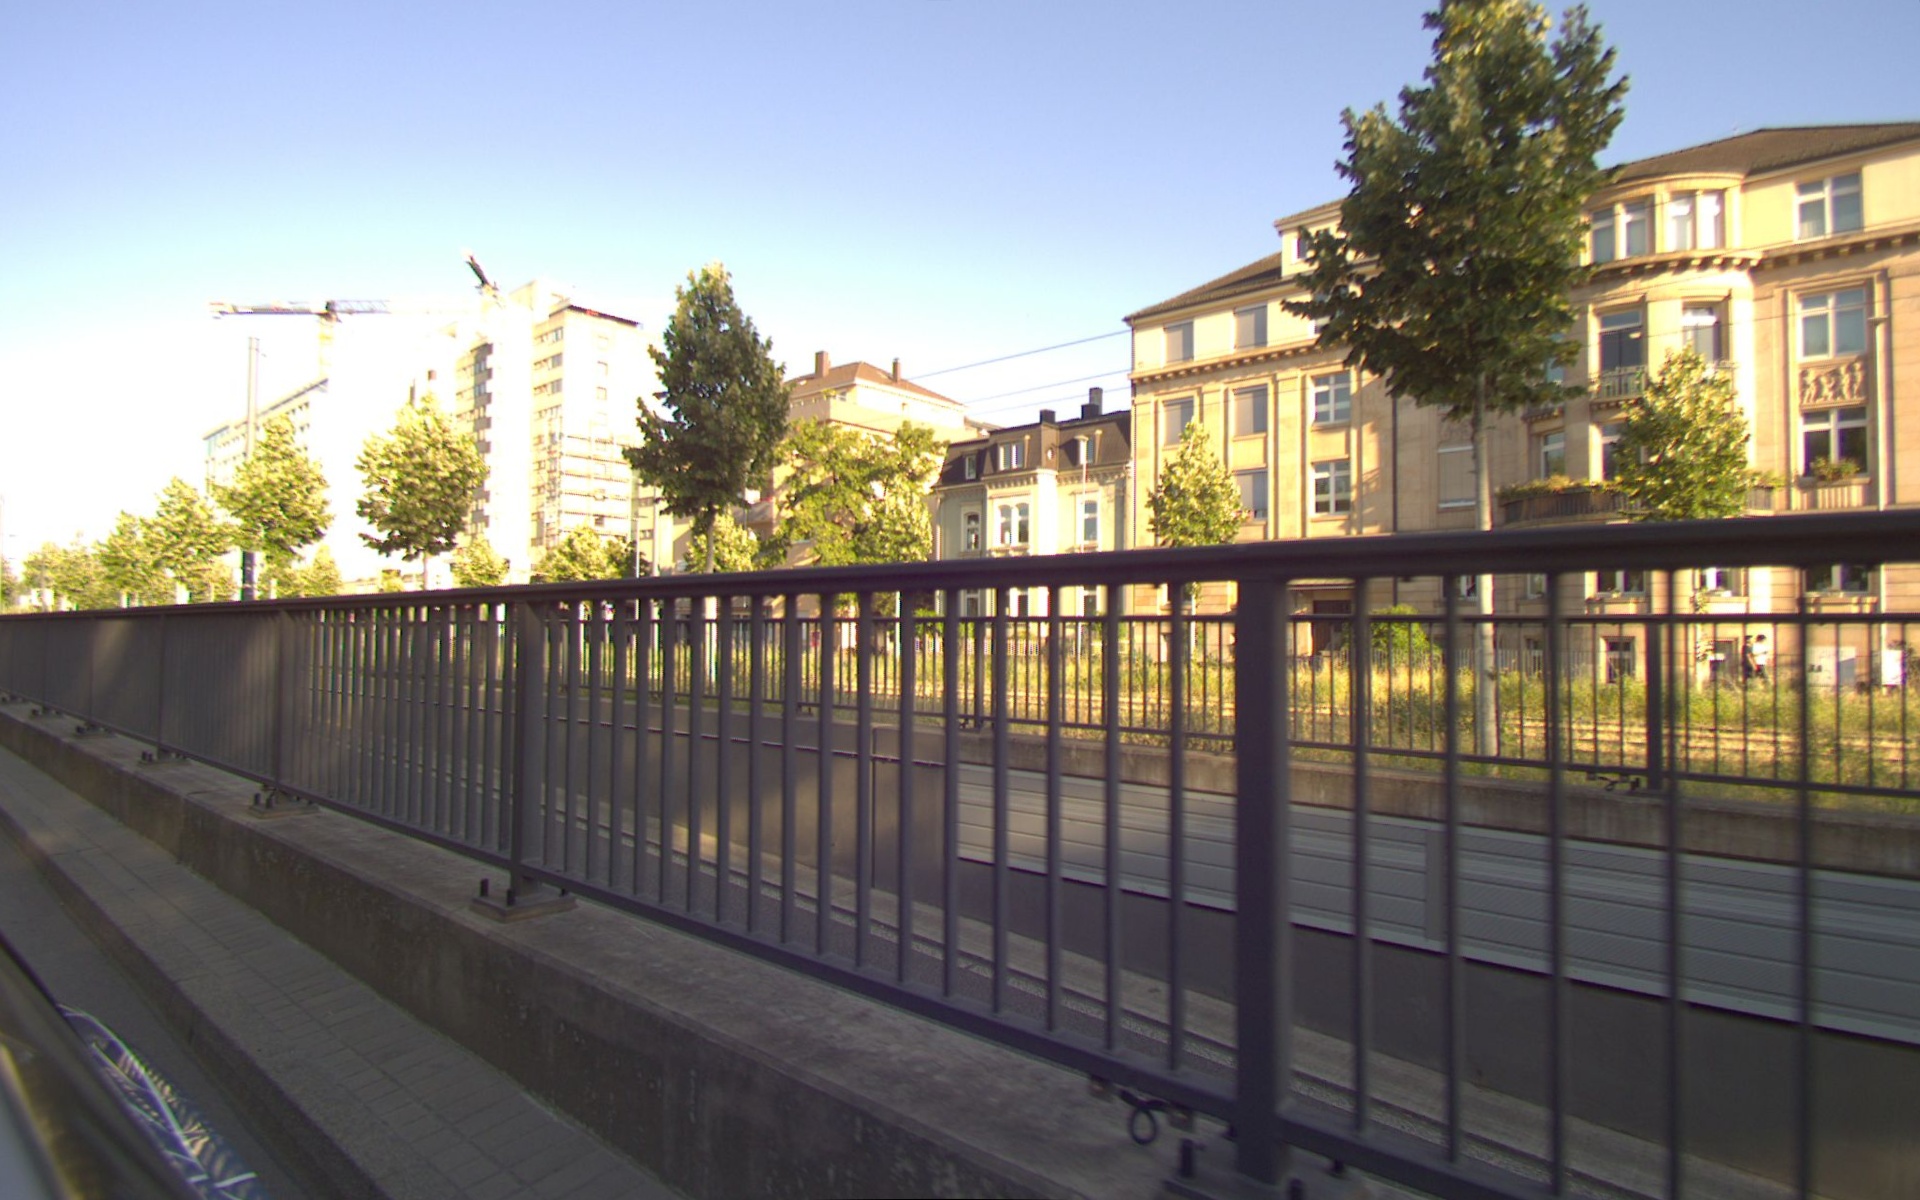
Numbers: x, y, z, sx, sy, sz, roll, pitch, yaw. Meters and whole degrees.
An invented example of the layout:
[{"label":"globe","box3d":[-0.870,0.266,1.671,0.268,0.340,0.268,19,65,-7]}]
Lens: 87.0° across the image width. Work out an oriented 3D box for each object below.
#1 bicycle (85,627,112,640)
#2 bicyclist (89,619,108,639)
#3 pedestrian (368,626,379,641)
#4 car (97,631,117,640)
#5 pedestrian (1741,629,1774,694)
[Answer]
[{"label":"bicycle","box3d":[-61.612,2.379,72.370,2.015,0.898,0.503,-1,-2,19]},{"label":"bicyclist","box3d":[-61.461,2.079,72.199,0.710,1.405,0.732,-1,-2,18]},{"label":"pedestrian","box3d":[-65.254,3.777,112.609,0.882,1.652,0.766,-1,-3,41]},{"label":"car","box3d":[-139.100,5.720,164.974,4.660,1.474,1.757,-1,-2,41]},{"label":"pedestrian","box3d":[21.889,1.673,27.776,0.652,1.733,0.549,-2,-3,41]}]
